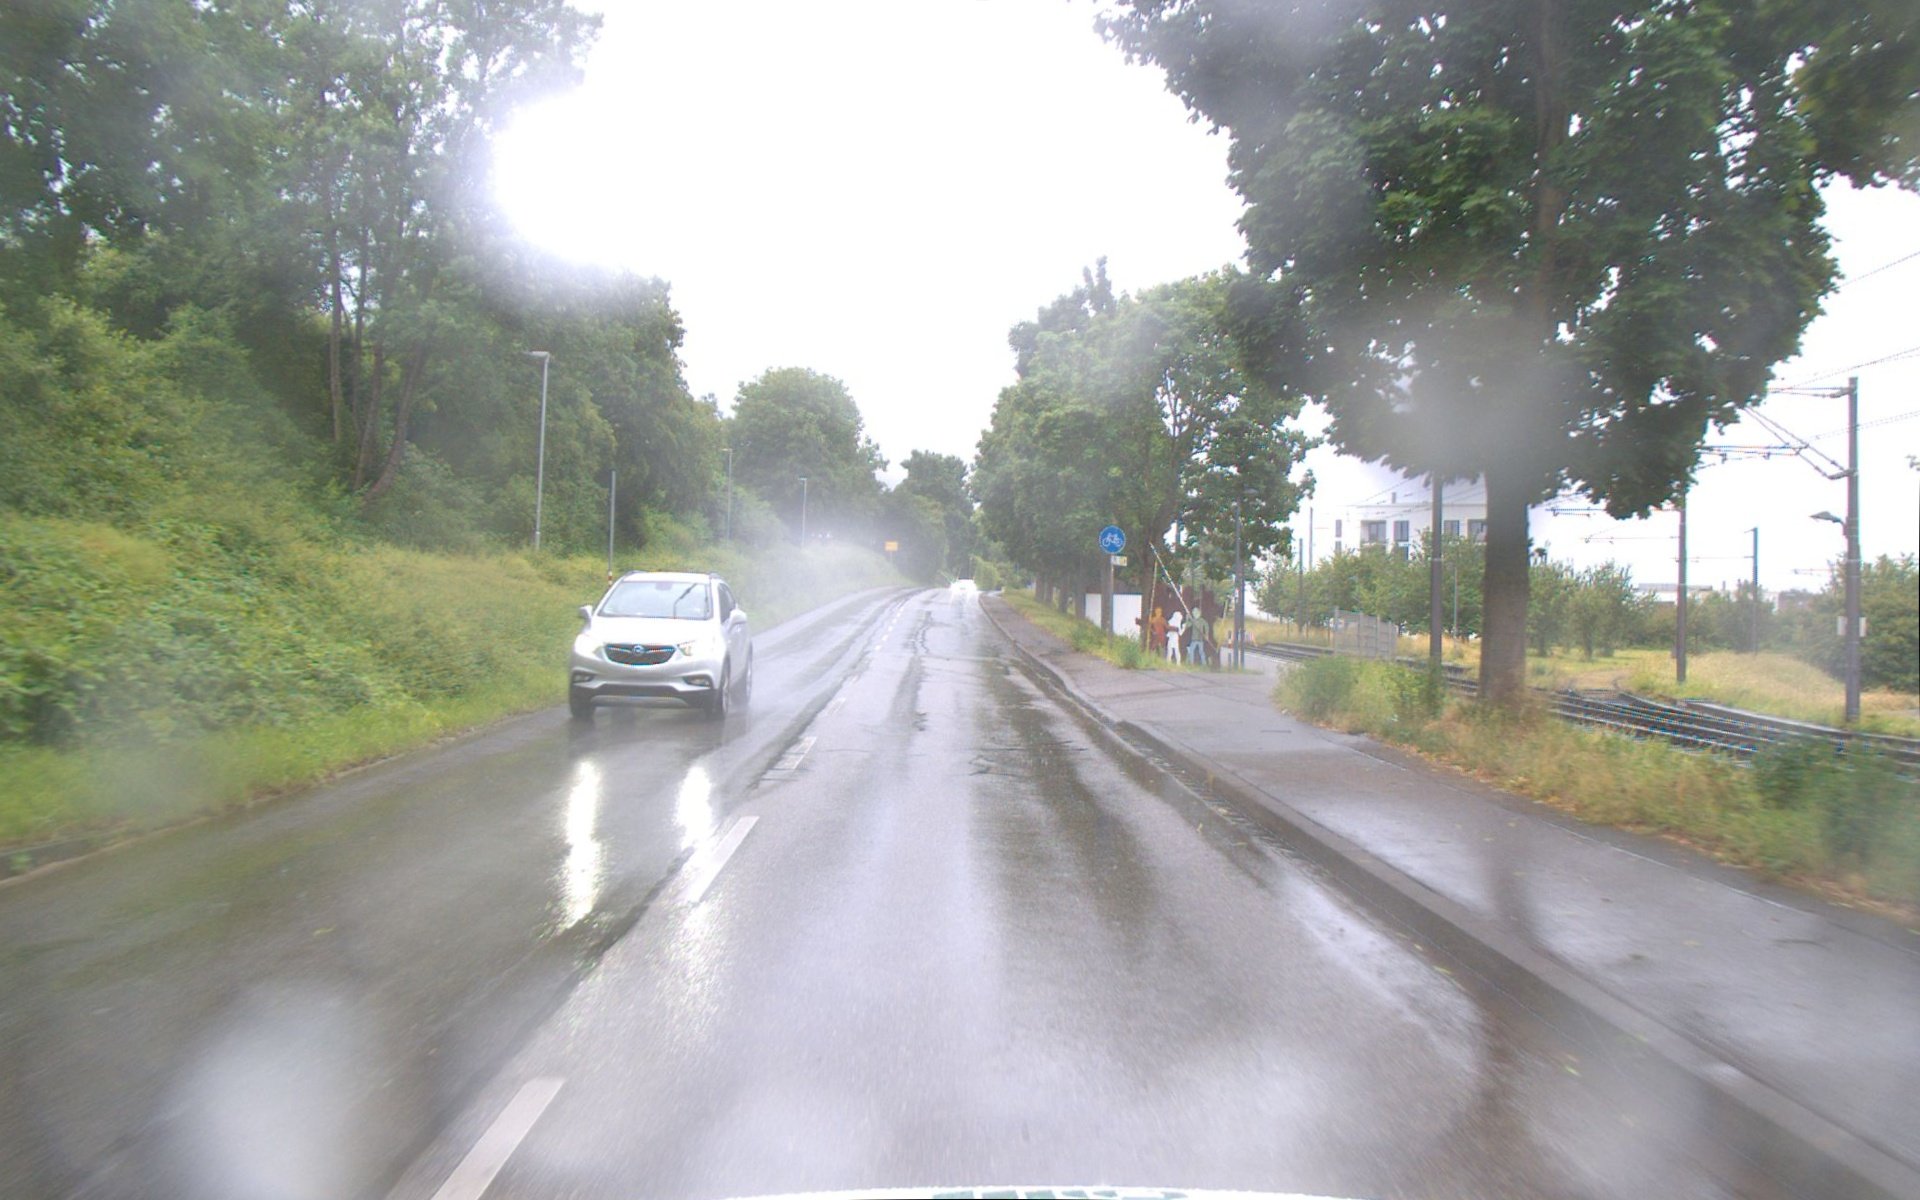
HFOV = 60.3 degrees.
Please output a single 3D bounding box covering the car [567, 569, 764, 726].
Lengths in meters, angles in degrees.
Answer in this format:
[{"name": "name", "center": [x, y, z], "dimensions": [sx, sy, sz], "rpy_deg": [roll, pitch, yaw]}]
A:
[{"name": "car", "center": [-3.410, 0.484, 19.824], "dimensions": [1.709, 1.640, 4.087], "rpy_deg": [2, 1, -2]}]
